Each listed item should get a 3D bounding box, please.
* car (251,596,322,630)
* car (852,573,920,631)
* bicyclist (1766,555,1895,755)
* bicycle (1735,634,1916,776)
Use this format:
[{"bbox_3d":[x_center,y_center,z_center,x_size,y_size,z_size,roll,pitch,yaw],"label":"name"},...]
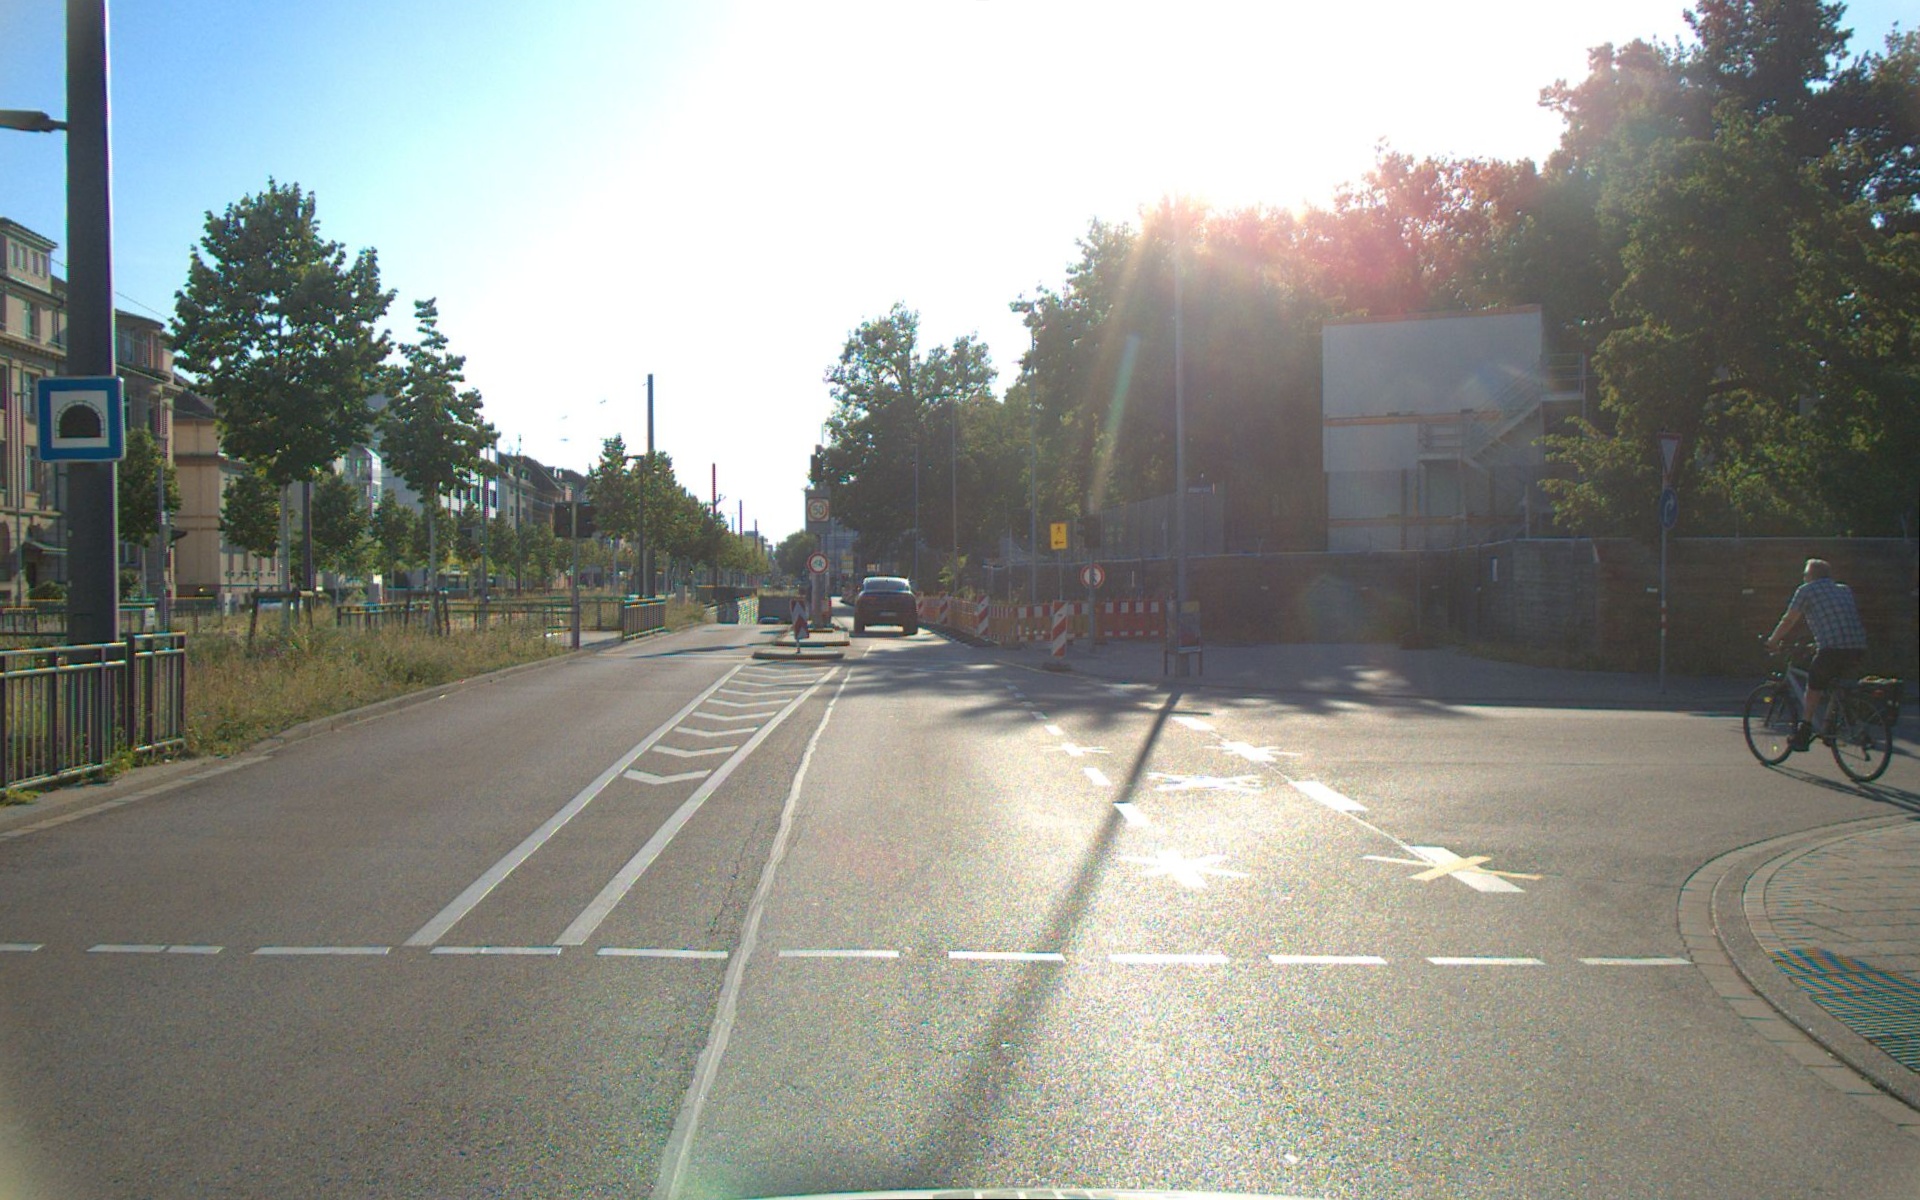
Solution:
[{"bbox_3d":[-30.611,0.551,75.260,1.742,1.489,4.657,0,0,-6],"label":"car"},{"bbox_3d":[-2.375,0.066,52.287,1.966,1.688,3.996,2,0,-5],"label":"car"},{"bbox_3d":[7.397,0.446,14.083,0.572,1.643,0.902,0,0,-5],"label":"bicyclist"},{"bbox_3d":[7.356,0.858,14.154,0.419,1.080,1.909,0,0,-4],"label":"bicycle"}]
